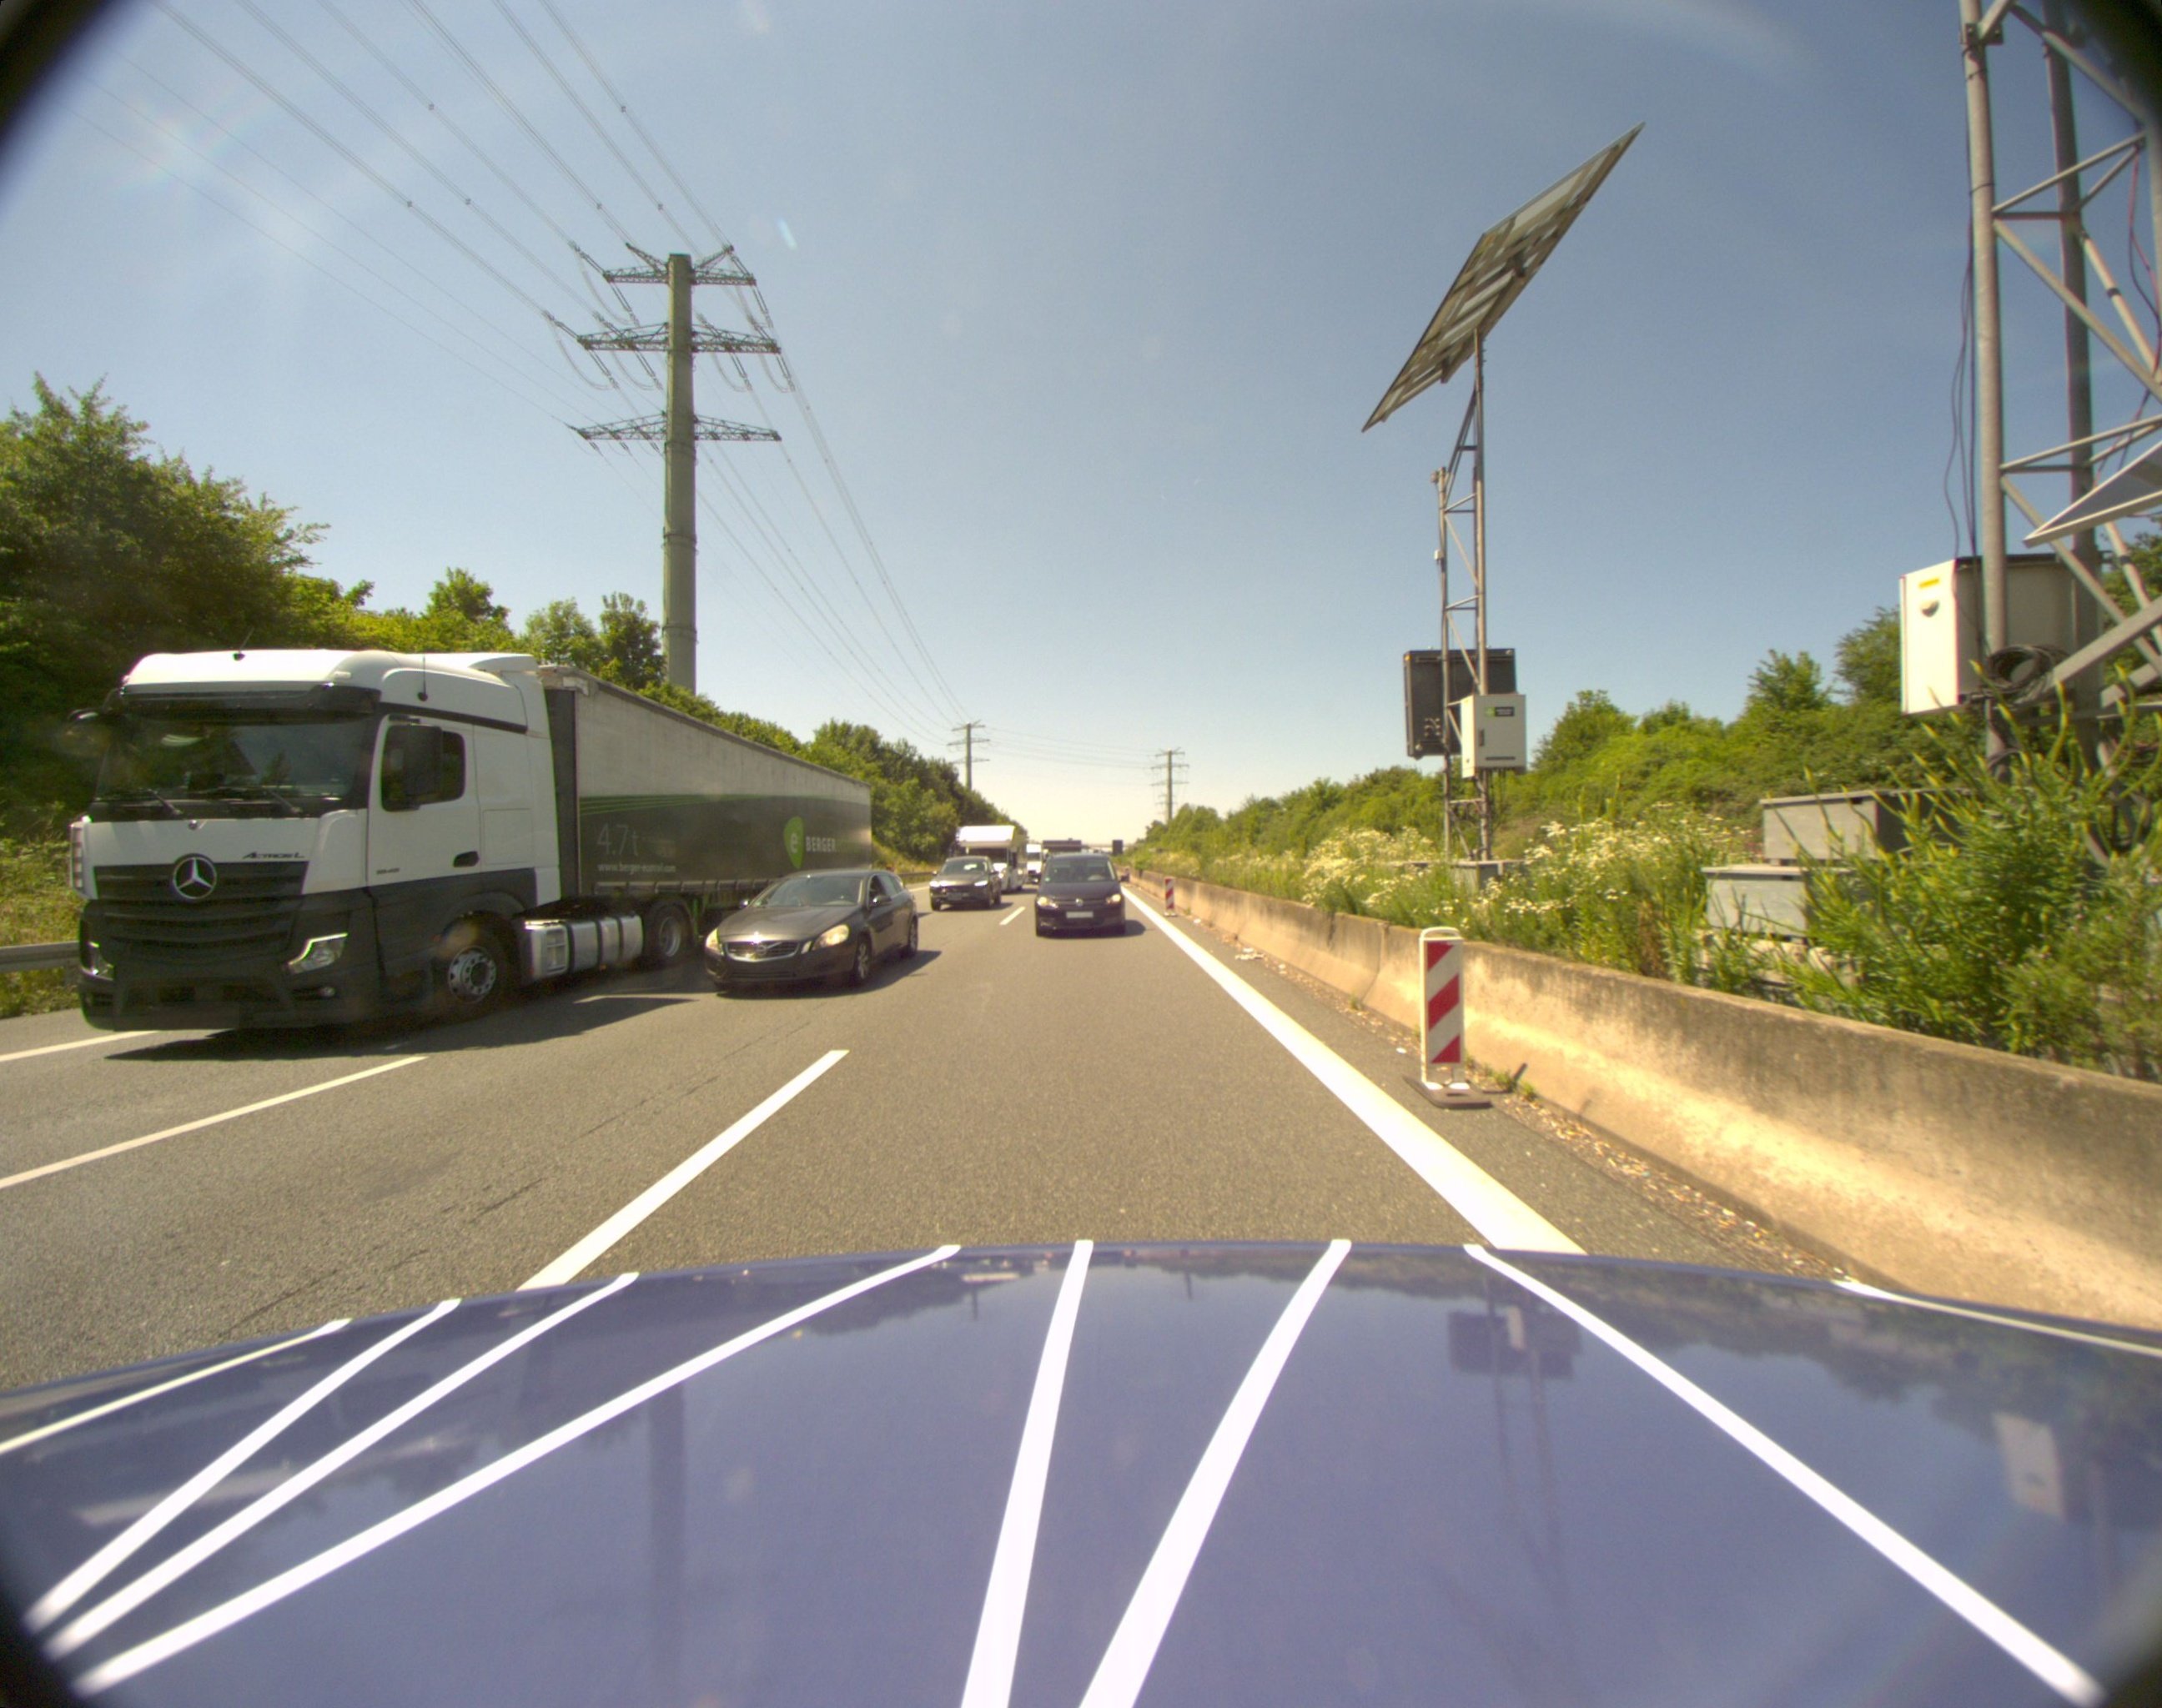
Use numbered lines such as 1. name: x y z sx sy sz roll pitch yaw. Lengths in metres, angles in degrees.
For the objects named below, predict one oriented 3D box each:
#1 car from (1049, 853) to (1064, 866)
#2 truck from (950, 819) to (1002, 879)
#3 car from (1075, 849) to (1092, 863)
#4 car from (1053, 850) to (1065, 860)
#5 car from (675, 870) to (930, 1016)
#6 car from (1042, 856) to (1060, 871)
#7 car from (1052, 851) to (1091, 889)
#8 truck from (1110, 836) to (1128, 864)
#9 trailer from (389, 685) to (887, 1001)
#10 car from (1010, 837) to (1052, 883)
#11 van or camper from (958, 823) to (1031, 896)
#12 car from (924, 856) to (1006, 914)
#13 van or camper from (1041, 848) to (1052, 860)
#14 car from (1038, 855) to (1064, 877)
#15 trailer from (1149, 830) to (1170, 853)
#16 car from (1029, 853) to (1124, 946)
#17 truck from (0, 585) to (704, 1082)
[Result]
1. car: -3.175 0.737 100.394 1.720 1.510 3.874 -2 1 1
2. truck: -7.641 -0.347 56.184 2.792 4.120 5.636 -2 1 1
3. car: 0.319 0.220 93.883 1.973 1.682 3.874 -2 1 1
4. car: -3.568 0.181 124.505 1.720 1.510 3.874 -2 1 1
5. car: -3.519 1.036 10.631 1.799 1.411 4.509 -2 1 1
6. car: -3.274 1.028 83.521 1.720 1.510 3.874 -2 1 1
7. car: -0.421 0.716 37.027 1.700 1.641 4.220 -2 1 1
8. truck: 4.561 -0.516 91.465 1.892 3.263 5.590 -2 1 1
9. trailer: -7.455 -0.191 16.482 2.790 4.024 13.110 -2 1 1
10. car: -3.179 0.346 49.625 2.042 2.703 6.705 -2 1 1
11. van or camper: -3.901 0.192 35.999 2.375 3.026 7.632 -2 1 1
12. car: -3.637 0.934 24.584 1.893 1.602 4.220 -2 1 1
13. van or camper: -7.416 -0.006 163.963 1.978 2.511 4.369 -2 1 1
14. car: -2.360 0.923 59.989 1.720 1.510 3.874 -2 1 1
15. trailer: 16.038 -2.472 155.323 2.967 4.378 12.905 -2 1 1
16. car: -0.050 0.837 16.140 1.700 1.641 4.220 -2 1 1
17. truck: -7.501 -0.177 9.203 2.740 4.024 5.793 -2 1 1
